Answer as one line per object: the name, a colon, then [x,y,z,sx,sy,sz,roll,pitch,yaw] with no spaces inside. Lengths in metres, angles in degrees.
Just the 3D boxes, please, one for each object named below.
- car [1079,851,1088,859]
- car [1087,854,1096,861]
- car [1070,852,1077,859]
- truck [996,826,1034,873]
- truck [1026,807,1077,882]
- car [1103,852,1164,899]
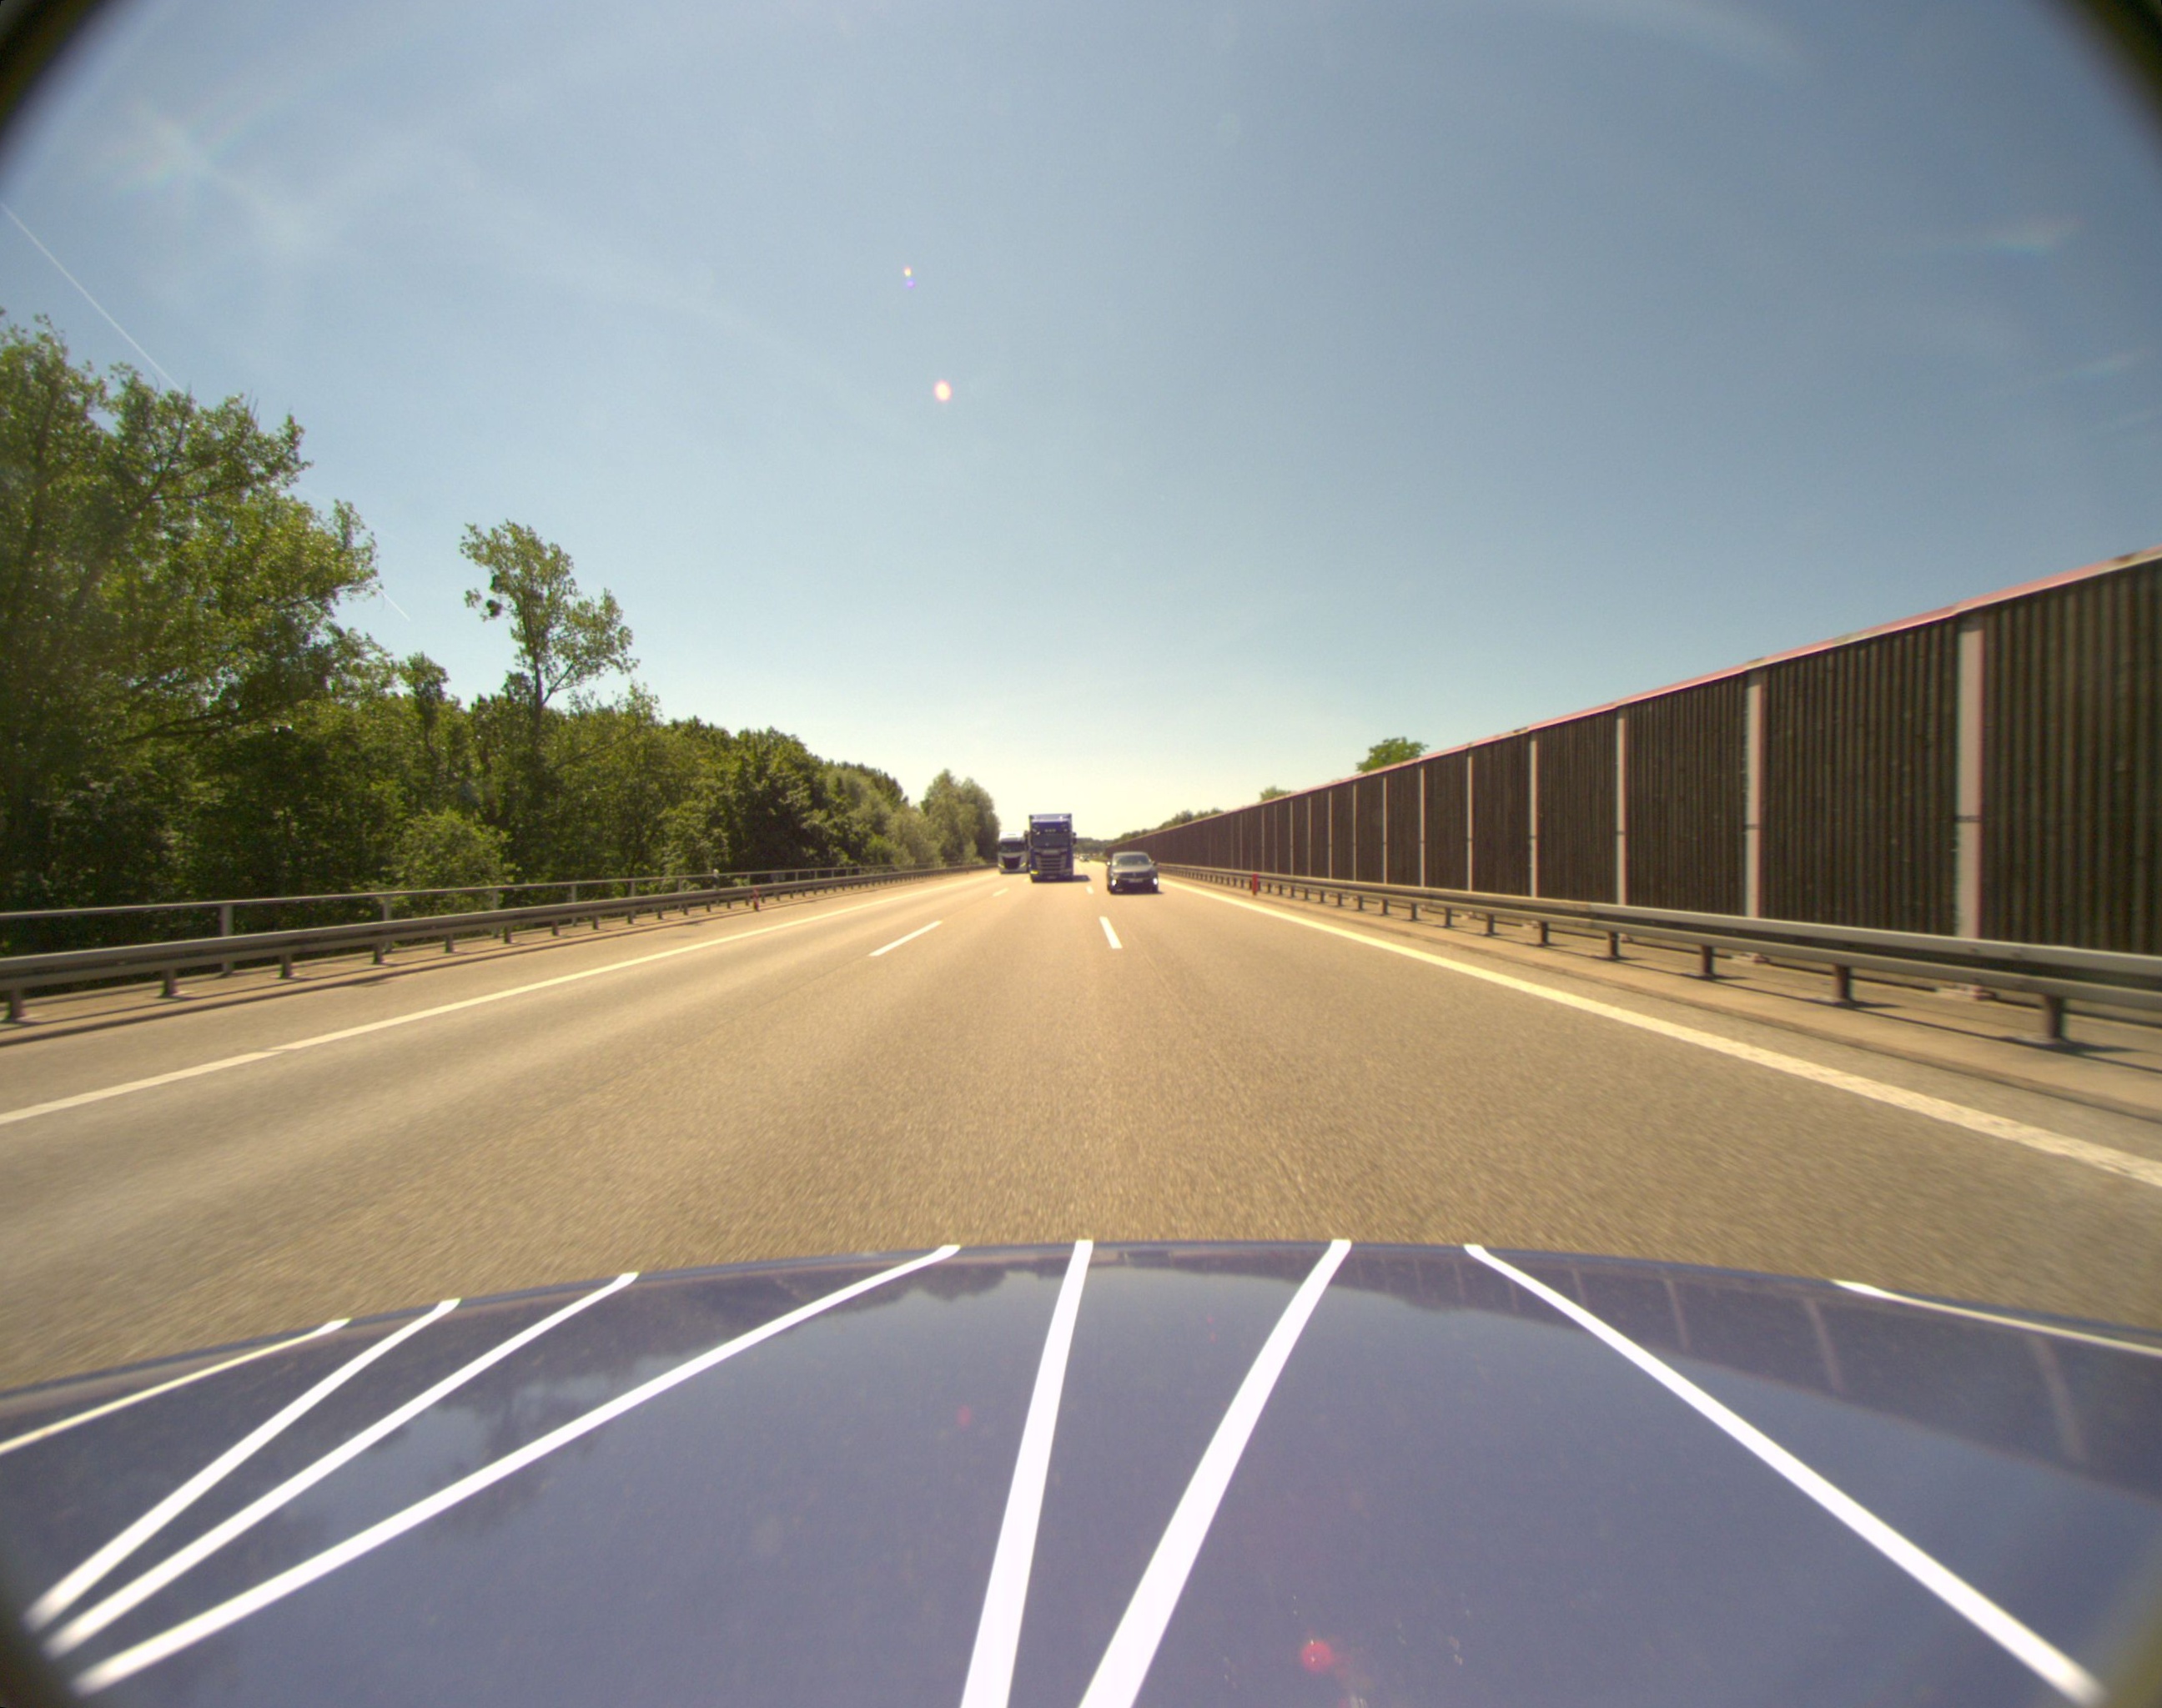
car: [0.640,0.264,178.272,1.998,1.717,4.000,-2,0,1]
car: [2.442,0.898,182.404,2.045,1.559,4.000,-2,0,0]
car: [-2.217,0.526,223.978,1.999,2.002,3.999,-2,0,-2]
truck: [-6.289,-0.395,73.879,2.820,4.139,10.447,-2,0,-1]
truck: [-1.681,-0.526,45.864,2.707,4.094,6.990,-2,0,-1]
car: [1.939,0.774,29.528,1.885,1.630,5.008,-1,0,-2]
